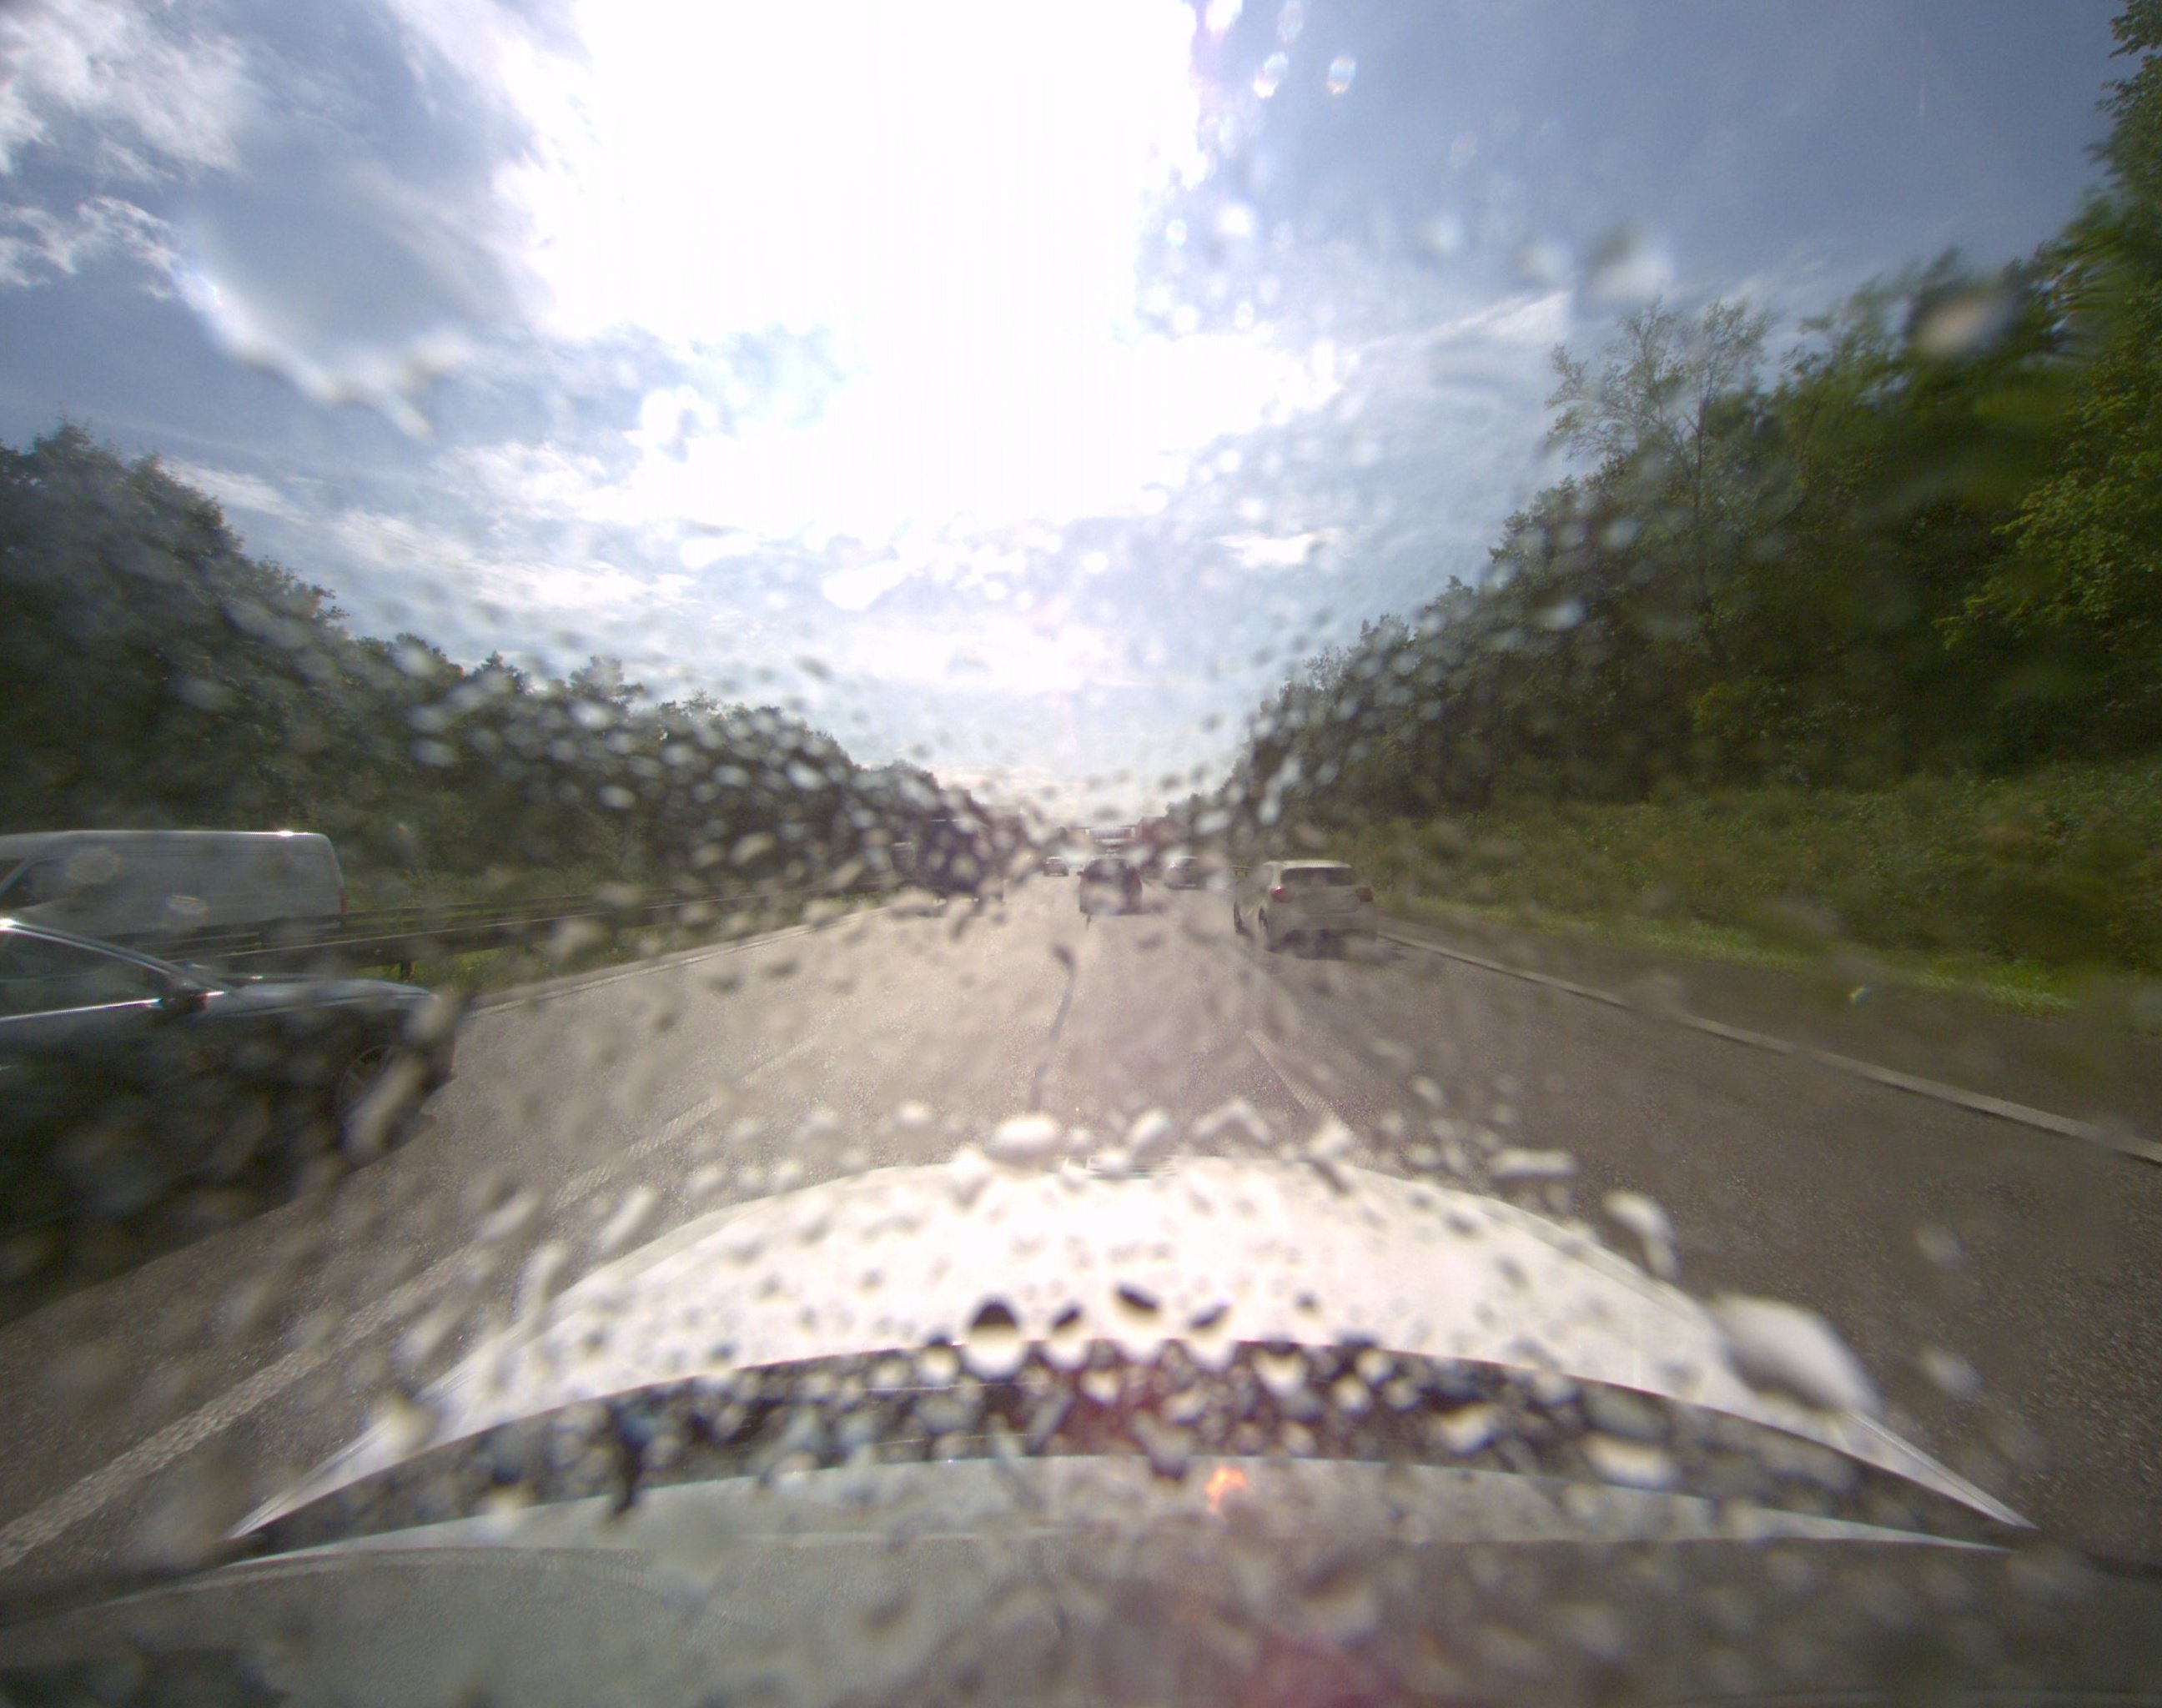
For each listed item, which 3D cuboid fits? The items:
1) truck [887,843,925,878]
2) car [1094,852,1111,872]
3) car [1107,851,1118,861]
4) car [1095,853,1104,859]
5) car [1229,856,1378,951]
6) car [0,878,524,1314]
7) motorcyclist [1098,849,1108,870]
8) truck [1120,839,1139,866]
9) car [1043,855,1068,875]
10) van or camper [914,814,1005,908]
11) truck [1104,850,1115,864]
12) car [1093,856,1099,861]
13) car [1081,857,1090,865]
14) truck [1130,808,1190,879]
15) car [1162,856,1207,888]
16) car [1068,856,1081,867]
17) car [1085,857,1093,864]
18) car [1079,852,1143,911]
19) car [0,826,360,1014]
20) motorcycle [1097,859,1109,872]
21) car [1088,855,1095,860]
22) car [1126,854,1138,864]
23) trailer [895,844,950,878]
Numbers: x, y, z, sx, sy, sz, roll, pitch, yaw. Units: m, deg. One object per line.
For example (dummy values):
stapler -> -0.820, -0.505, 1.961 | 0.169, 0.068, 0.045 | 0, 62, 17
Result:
truck -> -18.811, 0.720, 87.864 | 2.712, 3.664, 5.334 | 0, 0, 2
car -> 2.026, 0.737, 76.464 | 1.526, 1.746, 3.485 | 0, 0, 0
car -> 4.478, 0.274, 117.073 | 1.547, 1.383, 3.210 | 0, 0, 0
car -> 5.269, 0.566, 229.631 | 1.983, 1.701, 4.008 | -2, 0, 7
car -> 3.759, 0.756, 14.464 | 1.685, 1.425, 4.223 | 0, 0, 3
car -> -4.591, 0.869, 2.892 | 1.787, 1.419, 4.840 | 0, 0, 2
motorcyclist -> 1.727, 0.430, 63.657 | 0.799, 1.633, 1.013 | 0, 0, 0
truck -> 8.476, -0.271, 143.583 | 3.243, 4.479, 12.428 | 0, 0, 2
car -> -2.037, 0.870, 65.073 | 1.848, 1.551, 3.485 | 0, 0, 0
van or camper -> -3.720, 0.199, 25.907 | 1.987, 2.669, 5.385 | 0, 0, 1
truck -> 5.757, 0.615, 165.767 | 2.184, 2.875, 4.850 | 0, 0, 0
car -> 3.875, 1.060, 209.214 | 1.544, 1.267, 3.484 | 0, 0, 0
car -> 0.825, 1.146, 137.841 | 1.455, 1.393, 3.311 | 0, 0, 0
truck -> 5.783, -0.692, 62.961 | 3.635, 4.720, 16.788 | 0, 0, 2
car -> 4.860, 0.830, 38.596 | 1.675, 1.442, 3.905 | 0, 0, 1
car -> -0.916, 0.989, 111.949 | 1.745, 1.457, 3.390 | 0, 0, 0
car -> 1.513, 1.253, 162.777 | 1.544, 1.267, 3.484 | 0, 0, 0
car -> 0.835, 0.752, 23.687 | 1.712, 1.567, 3.485 | 0, 0, 0
car -> -17.555, 1.020, 15.074 | 2.254, 2.870, 6.791 | 0, 0, 2
motorcycle -> 1.716, 0.894, 63.699 | 0.888, 1.000, 2.896 | 0, 0, 1
car -> 2.450, 0.813, 194.718 | 1.544, 1.267, 3.484 | 0, 0, 0
car -> 7.338, 0.731, 117.453 | 1.547, 1.383, 3.210 | 0, 0, 0
trailer -> -18.488, 0.744, 96.293 | 2.712, 3.644, 16.684 | 0, 0, 2
